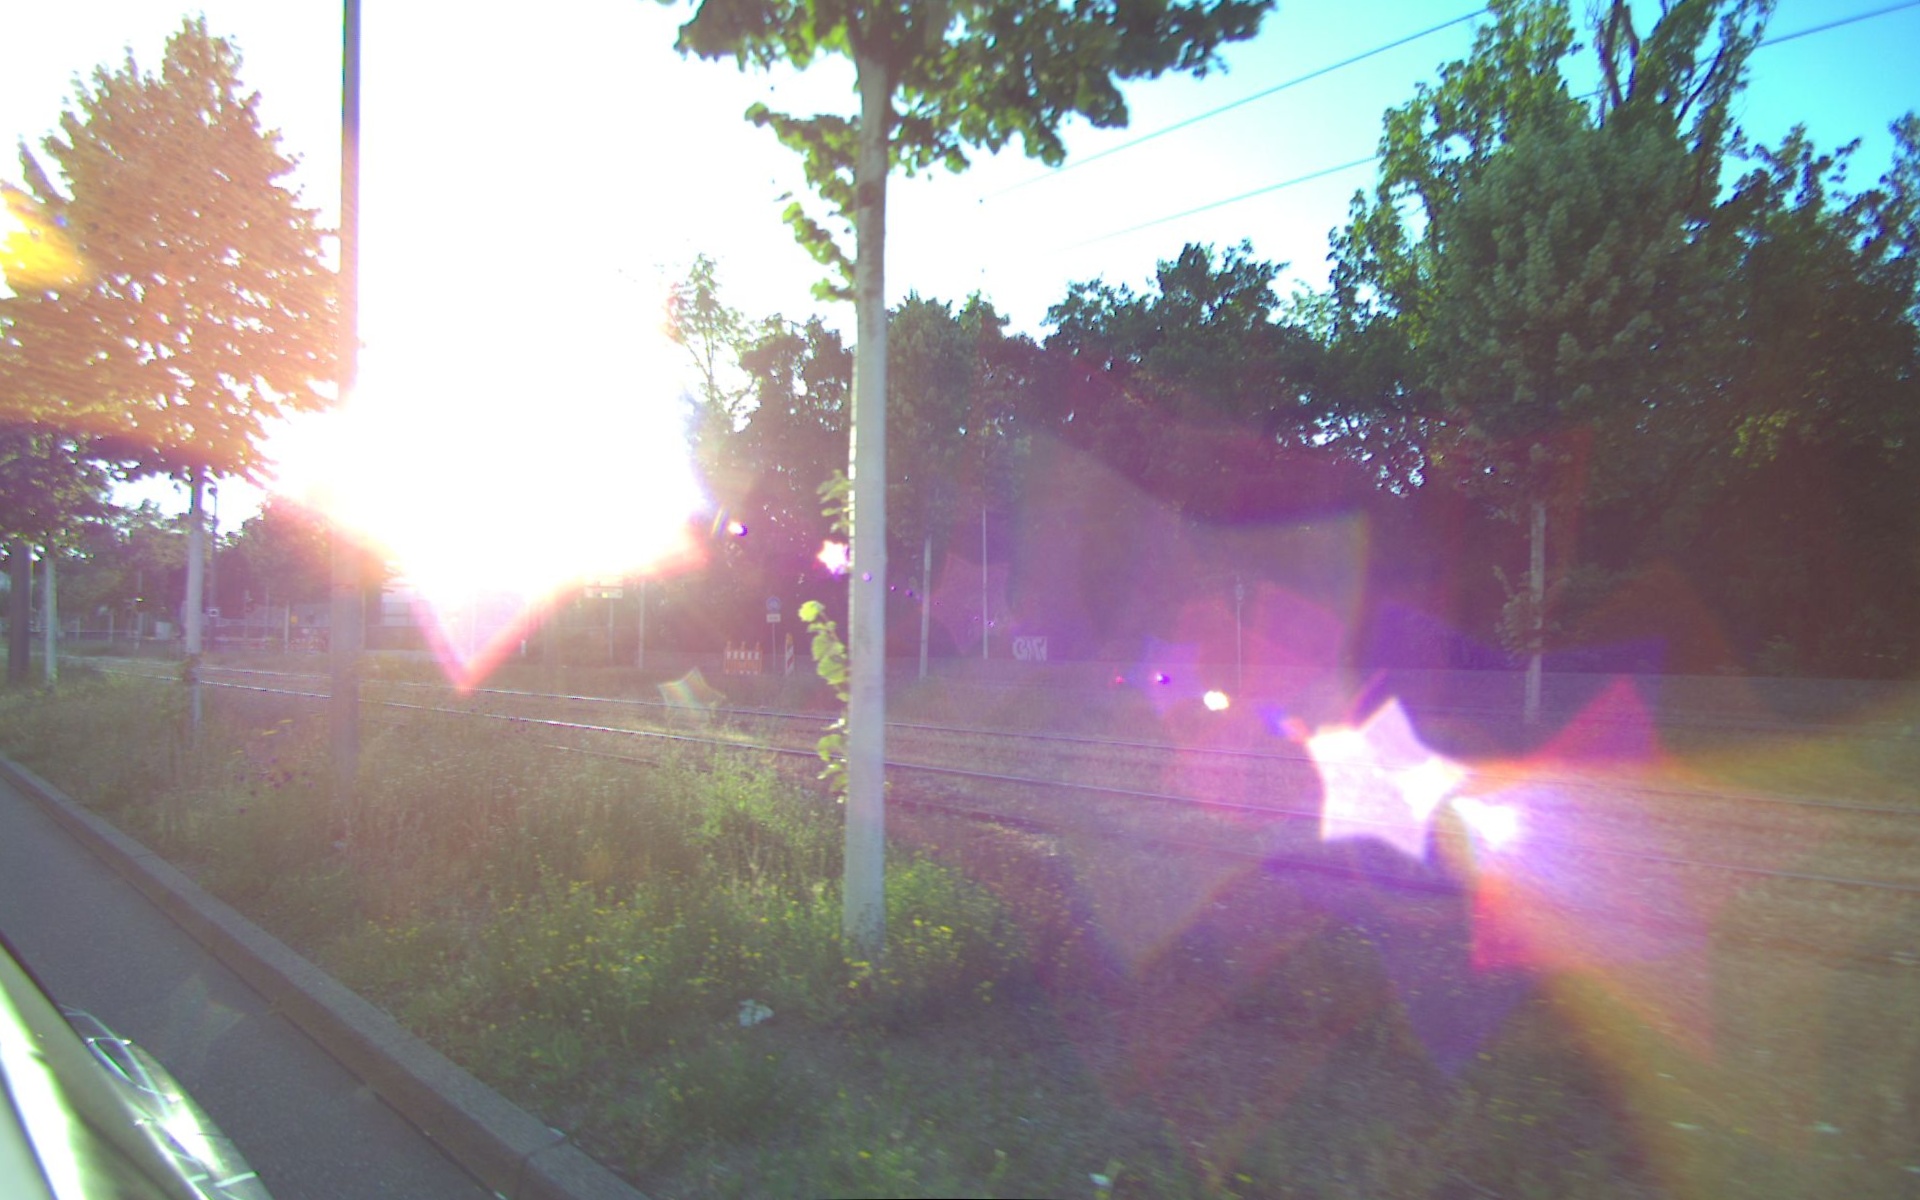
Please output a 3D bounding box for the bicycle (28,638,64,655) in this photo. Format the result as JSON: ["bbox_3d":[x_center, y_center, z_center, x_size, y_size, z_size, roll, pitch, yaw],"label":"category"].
[{"bbox_3d":[-68.361,3.467,75.670,1.866,1.142,0.719,-1,-1,-16],"label":"bicycle"}]

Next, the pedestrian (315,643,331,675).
[{"bbox_3d":[-33.380,3.105,53.034,0.660,1.620,0.679,-1,-5,-35],"label":"pedestrian"}]

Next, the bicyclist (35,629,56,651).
[{"bbox_3d":[-68.373,2.973,75.677,0.928,1.633,0.719,-1,-1,-16],"label":"bicyclist"}]
